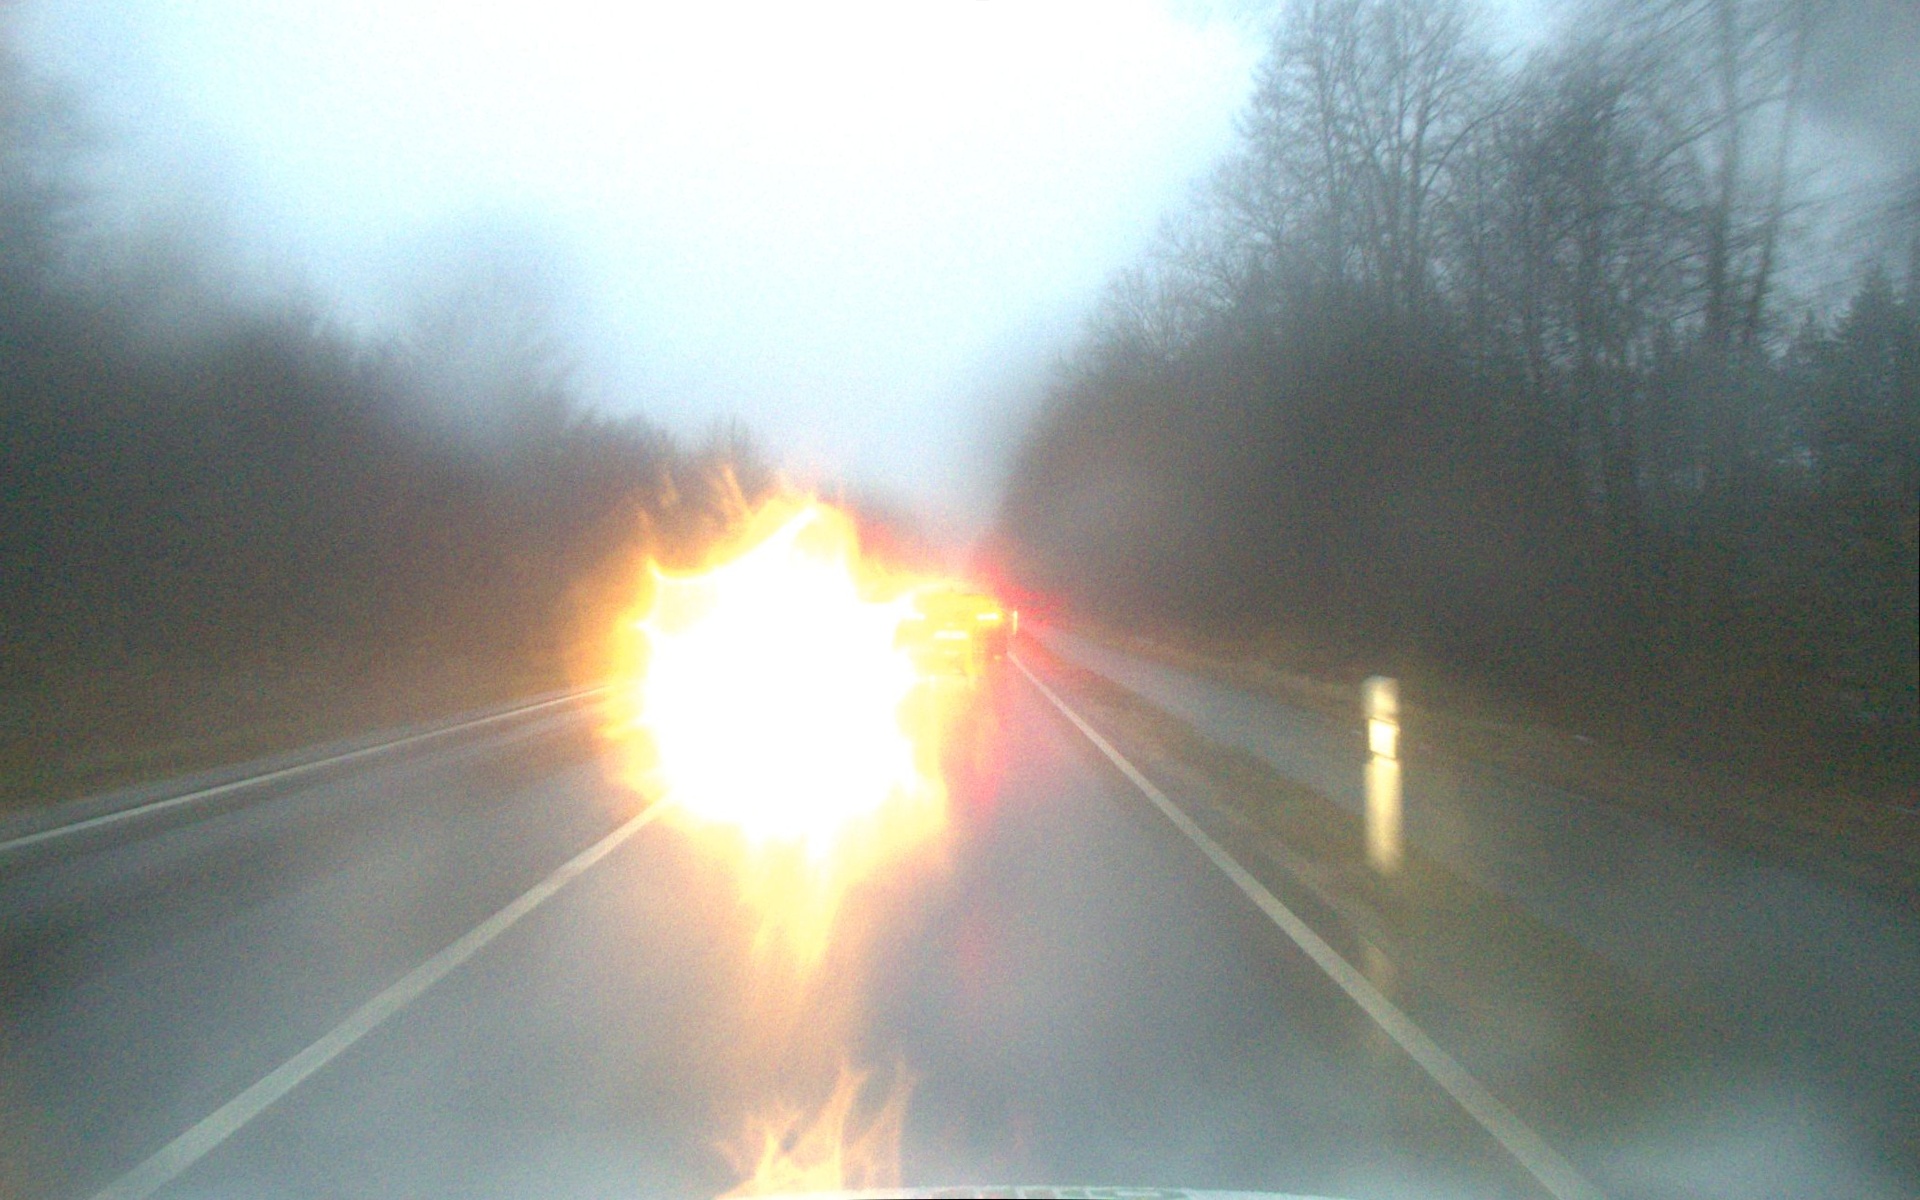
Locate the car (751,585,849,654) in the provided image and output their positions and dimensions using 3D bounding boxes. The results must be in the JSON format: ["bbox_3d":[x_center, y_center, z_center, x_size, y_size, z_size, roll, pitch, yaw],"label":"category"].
[{"bbox_3d":[-3.553,0.416,37.299,1.777,1.464,4.098,0,0,0],"label":"car"}]

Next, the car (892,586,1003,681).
[{"bbox_3d":[-0.204,0.494,26.561,1.644,1.414,4.097,0,0,-1],"label":"car"}]
